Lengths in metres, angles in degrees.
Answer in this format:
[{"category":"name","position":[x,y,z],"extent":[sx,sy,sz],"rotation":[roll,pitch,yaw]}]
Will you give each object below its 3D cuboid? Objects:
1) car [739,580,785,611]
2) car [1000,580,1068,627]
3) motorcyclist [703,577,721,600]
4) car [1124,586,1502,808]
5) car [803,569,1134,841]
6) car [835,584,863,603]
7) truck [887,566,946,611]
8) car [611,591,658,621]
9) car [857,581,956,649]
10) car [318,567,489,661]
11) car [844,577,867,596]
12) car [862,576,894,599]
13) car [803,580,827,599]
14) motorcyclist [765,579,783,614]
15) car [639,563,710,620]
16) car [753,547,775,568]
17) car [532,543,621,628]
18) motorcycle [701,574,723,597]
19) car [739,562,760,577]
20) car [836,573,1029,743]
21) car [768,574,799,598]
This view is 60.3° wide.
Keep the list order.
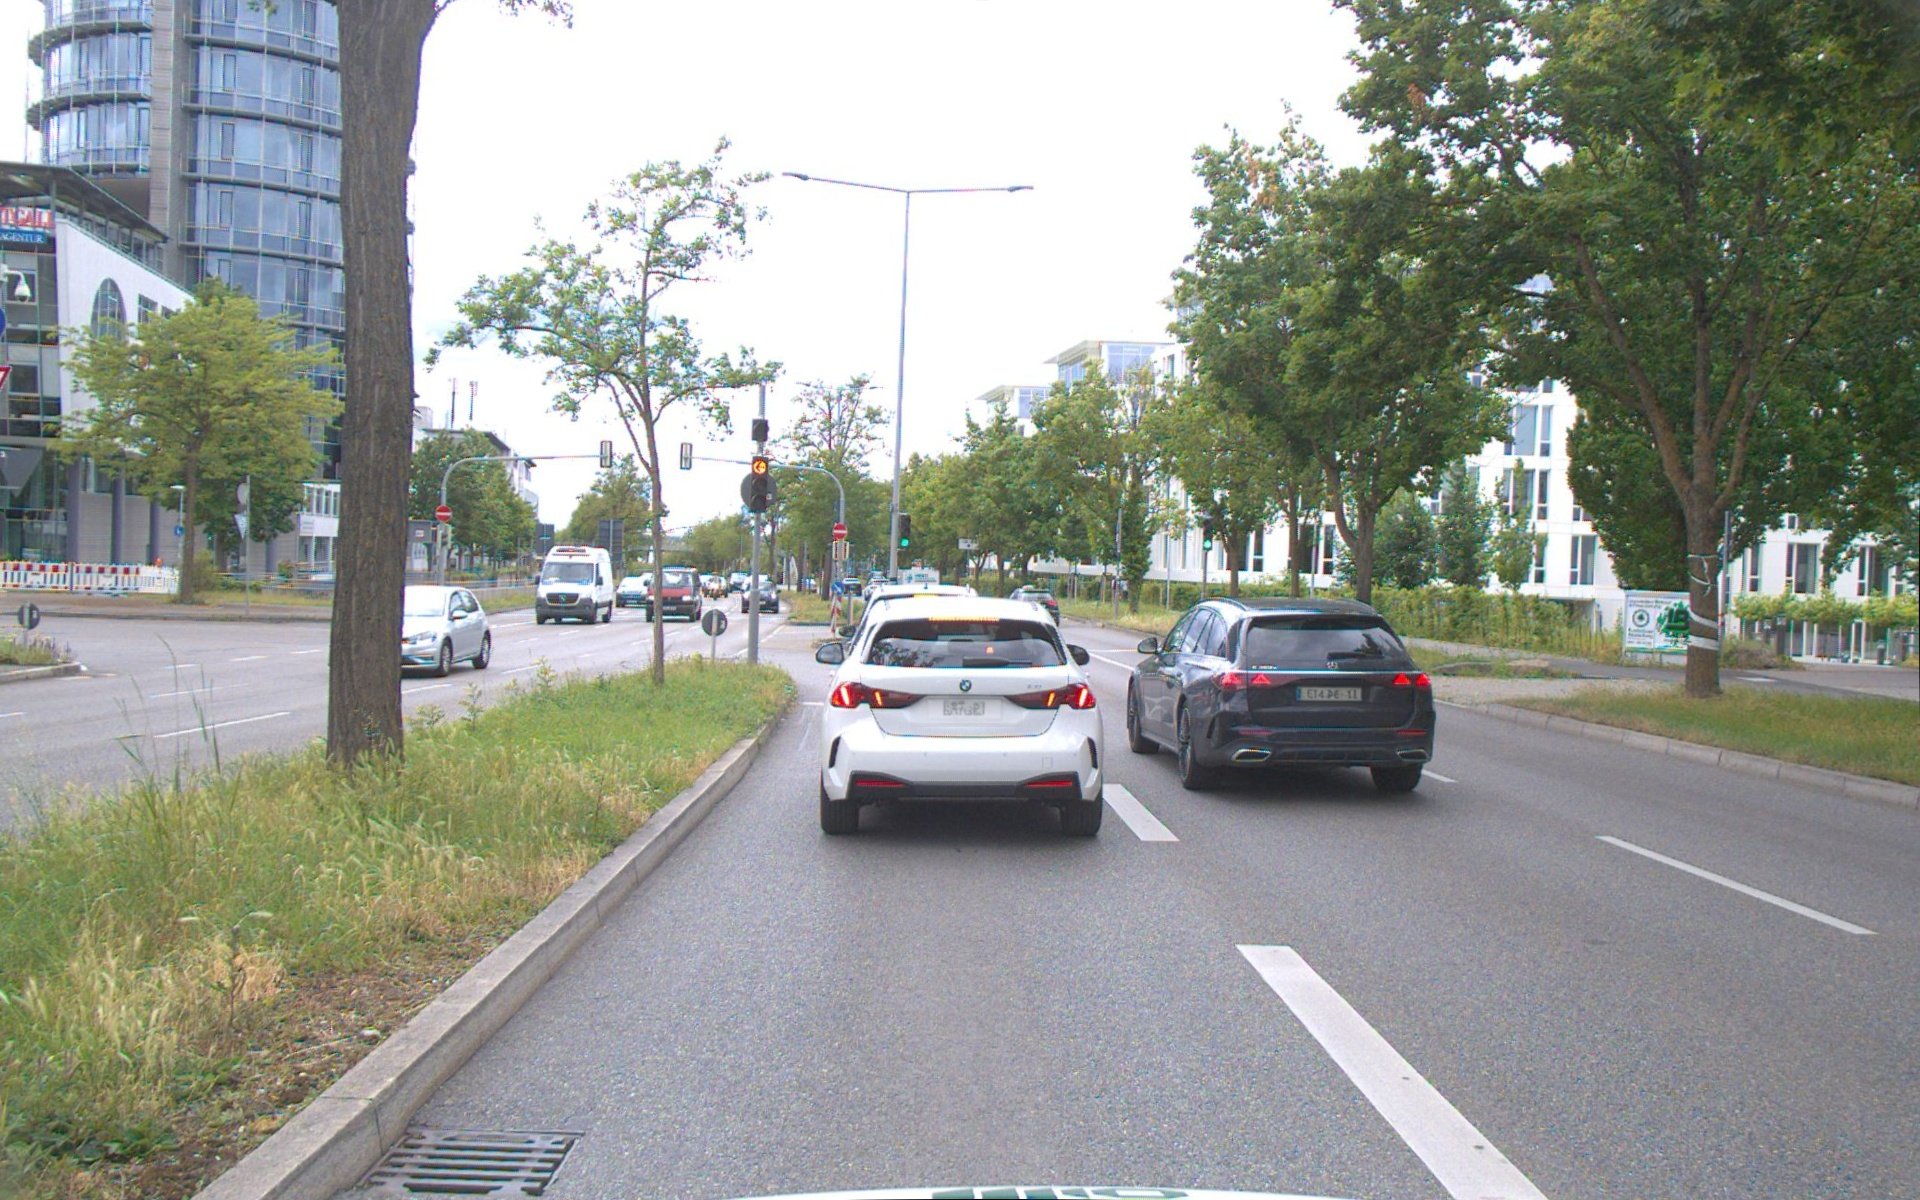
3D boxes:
[{"category":"car","position":[-9.128,-0.202,76.353],"extent":[1.718,1.395,3.779],"rotation":[0,0,-1]},{"category":"car","position":[2.723,0.102,61.620],"extent":[1.955,1.624,3.996],"rotation":[2,0,-5]},{"category":"motorcyclist","position":[-15.902,-0.748,105.883],"extent":[0.891,1.416,1.673],"rotation":[1,0,-1]},{"category":"car","position":[2.727,0.661,14.090],"extent":[2.012,1.512,4.971],"rotation":[-1,0,-2]},{"category":"car","position":[0.094,0.592,11.288],"extent":[1.824,1.474,4.001],"rotation":[2,0,1]},{"category":"car","position":[-9.304,-0.561,138.553],"extent":[1.957,1.534,3.991],"rotation":[1,0,-10]},{"category":"truck","position":[-2.679,-0.703,100.366],"extent":[2.806,2.563,6.275],"rotation":[2,0,-9]},{"category":"car","position":[-16.196,0.295,82.454],"extent":[1.673,1.443,3.802],"rotation":[0,0,-1]},{"category":"car","position":[-1.258,0.353,40.658],"extent":[1.951,1.534,4.002],"rotation":[1,0,4]},{"category":"car","position":[-9.298,0.198,27.964],"extent":[1.718,1.469,4.132],"rotation":[1,1,-4]},{"category":"car","position":[-8.946,-1.160,141.796],"extent":[1.954,1.516,3.997],"rotation":[2,0,-4]},{"category":"car","position":[-5.888,-0.907,118.134],"extent":[1.956,1.534,3.993],"rotation":[1,1,-8]},{"category":"car","position":[-12.792,-0.941,145.896],"extent":[1.954,1.516,3.997],"rotation":[2,0,-4]},{"category":"motorcyclist","position":[-10.079,-0.179,89.804],"extent":[0.831,1.869,1.259],"rotation":[1,0,-1]},{"category":"car","position":[-10.697,-0.280,62.236],"extent":[1.896,1.952,4.971],"rotation":[-1,-2,-1]},{"category":"car","position":[-20.976,-4.538,177.055],"extent":[1.954,2.045,4.321],"rotation":[3,0,-4]},{"category":"car","position":[-13.274,-0.508,57.602],"extent":[1.954,2.679,5.871],"rotation":[3,0,-4]},{"category":"motorcycle","position":[-15.907,-0.923,106.092],"extent":[0.871,1.422,3.999],"rotation":[1,0,-1]},{"category":"car","position":[-24.676,-3.591,194.128],"extent":[1.953,1.646,3.999],"rotation":[3,0,-1]},{"category":"car","position":[-0.290,0.602,19.097],"extent":[1.953,1.701,4.000],"rotation":[2,0,0]},{"category":"car","position":[-11.363,-0.896,106.794],"extent":[1.673,1.523,3.802],"rotation":[0,0,-1]}]
